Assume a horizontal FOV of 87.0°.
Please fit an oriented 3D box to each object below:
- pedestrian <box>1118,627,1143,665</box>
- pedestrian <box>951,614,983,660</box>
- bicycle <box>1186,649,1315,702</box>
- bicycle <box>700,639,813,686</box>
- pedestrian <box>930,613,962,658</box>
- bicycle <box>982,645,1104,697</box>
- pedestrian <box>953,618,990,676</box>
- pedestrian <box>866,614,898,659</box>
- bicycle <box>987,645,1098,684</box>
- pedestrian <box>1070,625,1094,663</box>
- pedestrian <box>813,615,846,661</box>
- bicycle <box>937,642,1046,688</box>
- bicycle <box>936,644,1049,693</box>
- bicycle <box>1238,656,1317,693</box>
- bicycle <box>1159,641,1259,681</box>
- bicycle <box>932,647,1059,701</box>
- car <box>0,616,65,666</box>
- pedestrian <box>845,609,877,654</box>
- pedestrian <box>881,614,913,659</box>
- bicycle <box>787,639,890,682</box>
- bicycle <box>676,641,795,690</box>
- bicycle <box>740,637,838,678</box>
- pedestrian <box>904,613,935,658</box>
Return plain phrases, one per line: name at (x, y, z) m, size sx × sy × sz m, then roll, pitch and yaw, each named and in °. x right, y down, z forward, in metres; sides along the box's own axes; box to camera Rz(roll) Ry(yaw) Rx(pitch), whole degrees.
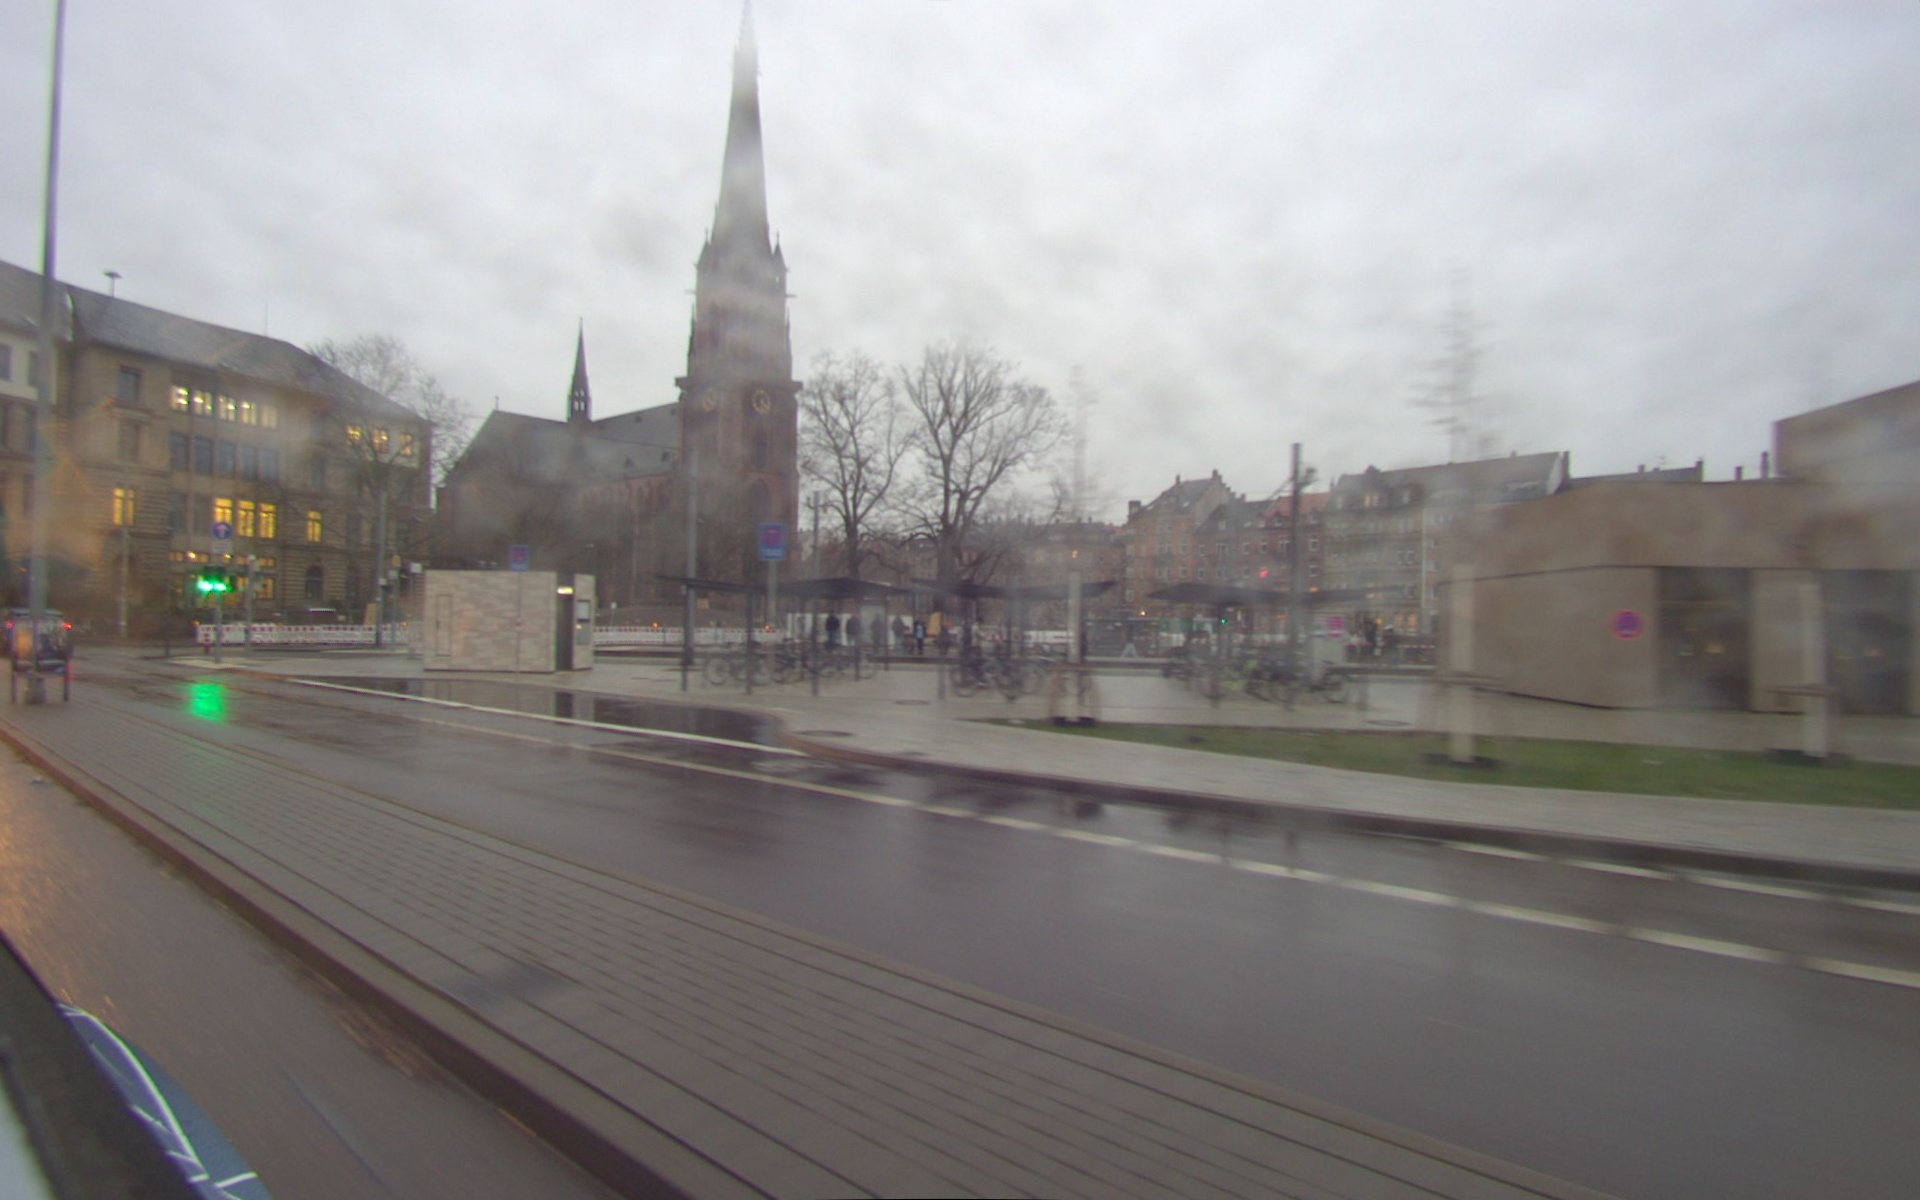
pedestrian at (8.268, 2.222, 49.100) m, size 0.808 × 1.844 × 0.935 m, roll -1°, pitch -3°, yaw 41°
pedestrian at (0.299, 1.530, 41.919) m, size 0.848 × 1.864 × 1.021 m, roll -1°, pitch 0°, yaw 41°
bicycle at (6.580, 1.707, 23.007) m, size 2.714 × 1.113 × 0.607 m, roll 0°, pitch 0°, yaw 3°
bicycle at (-5.092, 1.565, 25.368) m, size 2.720 × 1.113 × 0.645 m, roll -1°, pitch 0°, yaw 10°
pedestrian at (-0.577, 1.480, 42.639) m, size 0.848 × 1.864 × 1.021 m, roll -1°, pitch 0°, yaw 41°
bicycle at (1.904, 1.620, 23.138) m, size 2.720 × 1.113 × 0.645 m, roll -1°, pitch 0°, yaw 10°
pedestrian at (0.350, 1.448, 31.475) m, size 0.848 × 1.693 × 0.805 m, roll 2°, pitch 4°, yaw 41°
pedestrian at (-3.322, 1.546, 42.946) m, size 0.848 × 1.864 × 1.021 m, roll -1°, pitch -3°, yaw 41°
bicycle at (2.394, 1.864, 29.336) m, size 3.155 × 1.058 × 0.793 m, roll 1°, pitch -2°, yaw 6°
pedestrian at (6.074, 2.199, 50.465) m, size 0.808 × 1.844 × 0.935 m, roll -1°, pitch -3°, yaw 41°
pedestrian at (-5.477, 1.585, 42.462) m, size 0.848 × 1.864 × 1.036 m, roll -1°, pitch 2°, yaw 41°
bicycle at (0.795, 1.645, 25.662) m, size 2.713 × 1.113 × 0.647 m, roll 0°, pitch 0°, yaw 1°
bicycle at (0.789, 1.685, 24.880) m, size 2.712 × 1.113 × 0.647 m, roll -1°, pitch 0°, yaw 1°
bicycle at (8.147, 1.914, 26.033) m, size 1.841 × 0.878 × 0.605 m, roll 1°, pitch -2°, yaw 6°
bicycle at (7.139, 1.750, 29.152) m, size 2.720 × 1.113 × 0.645 m, roll -1°, pitch 0°, yaw 10°
bicycle at (0.785, 1.623, 22.225) m, size 2.720 × 1.113 × 0.645 m, roll -1°, pitch 0°, yaw 10°
car at (-31.871, 1.349, 34.488) m, size 4.000 × 1.607 × 1.655 m, roll -1°, pitch -2°, yaw 43°
pedestrian at (-4.226, 1.348, 43.281) m, size 0.848 × 1.864 × 1.021 m, roll -1°, pitch -3°, yaw 41°
pedestrian at (-2.628, 1.536, 42.385) m, size 0.802 × 1.864 × 1.021 m, roll -1°, pitch -3°, yaw 41°
bicycle at (-3.314, 1.661, 27.720) m, size 2.720 × 1.113 × 0.645 m, roll -1°, pitch 0°, yaw 10°
bicycle at (-5.367, 1.572, 24.211) m, size 2.720 × 1.113 × 0.645 m, roll -1°, pitch 0°, yaw 10°
bicycle at (-4.931, 1.655, 29.178) m, size 2.718 × 1.113 × 0.645 m, roll -1°, pitch 0°, yaw 7°
pedestrian at (-1.736, 1.497, 43.228) m, size 0.848 × 1.864 × 1.021 m, roll -1°, pitch 0°, yaw 41°
